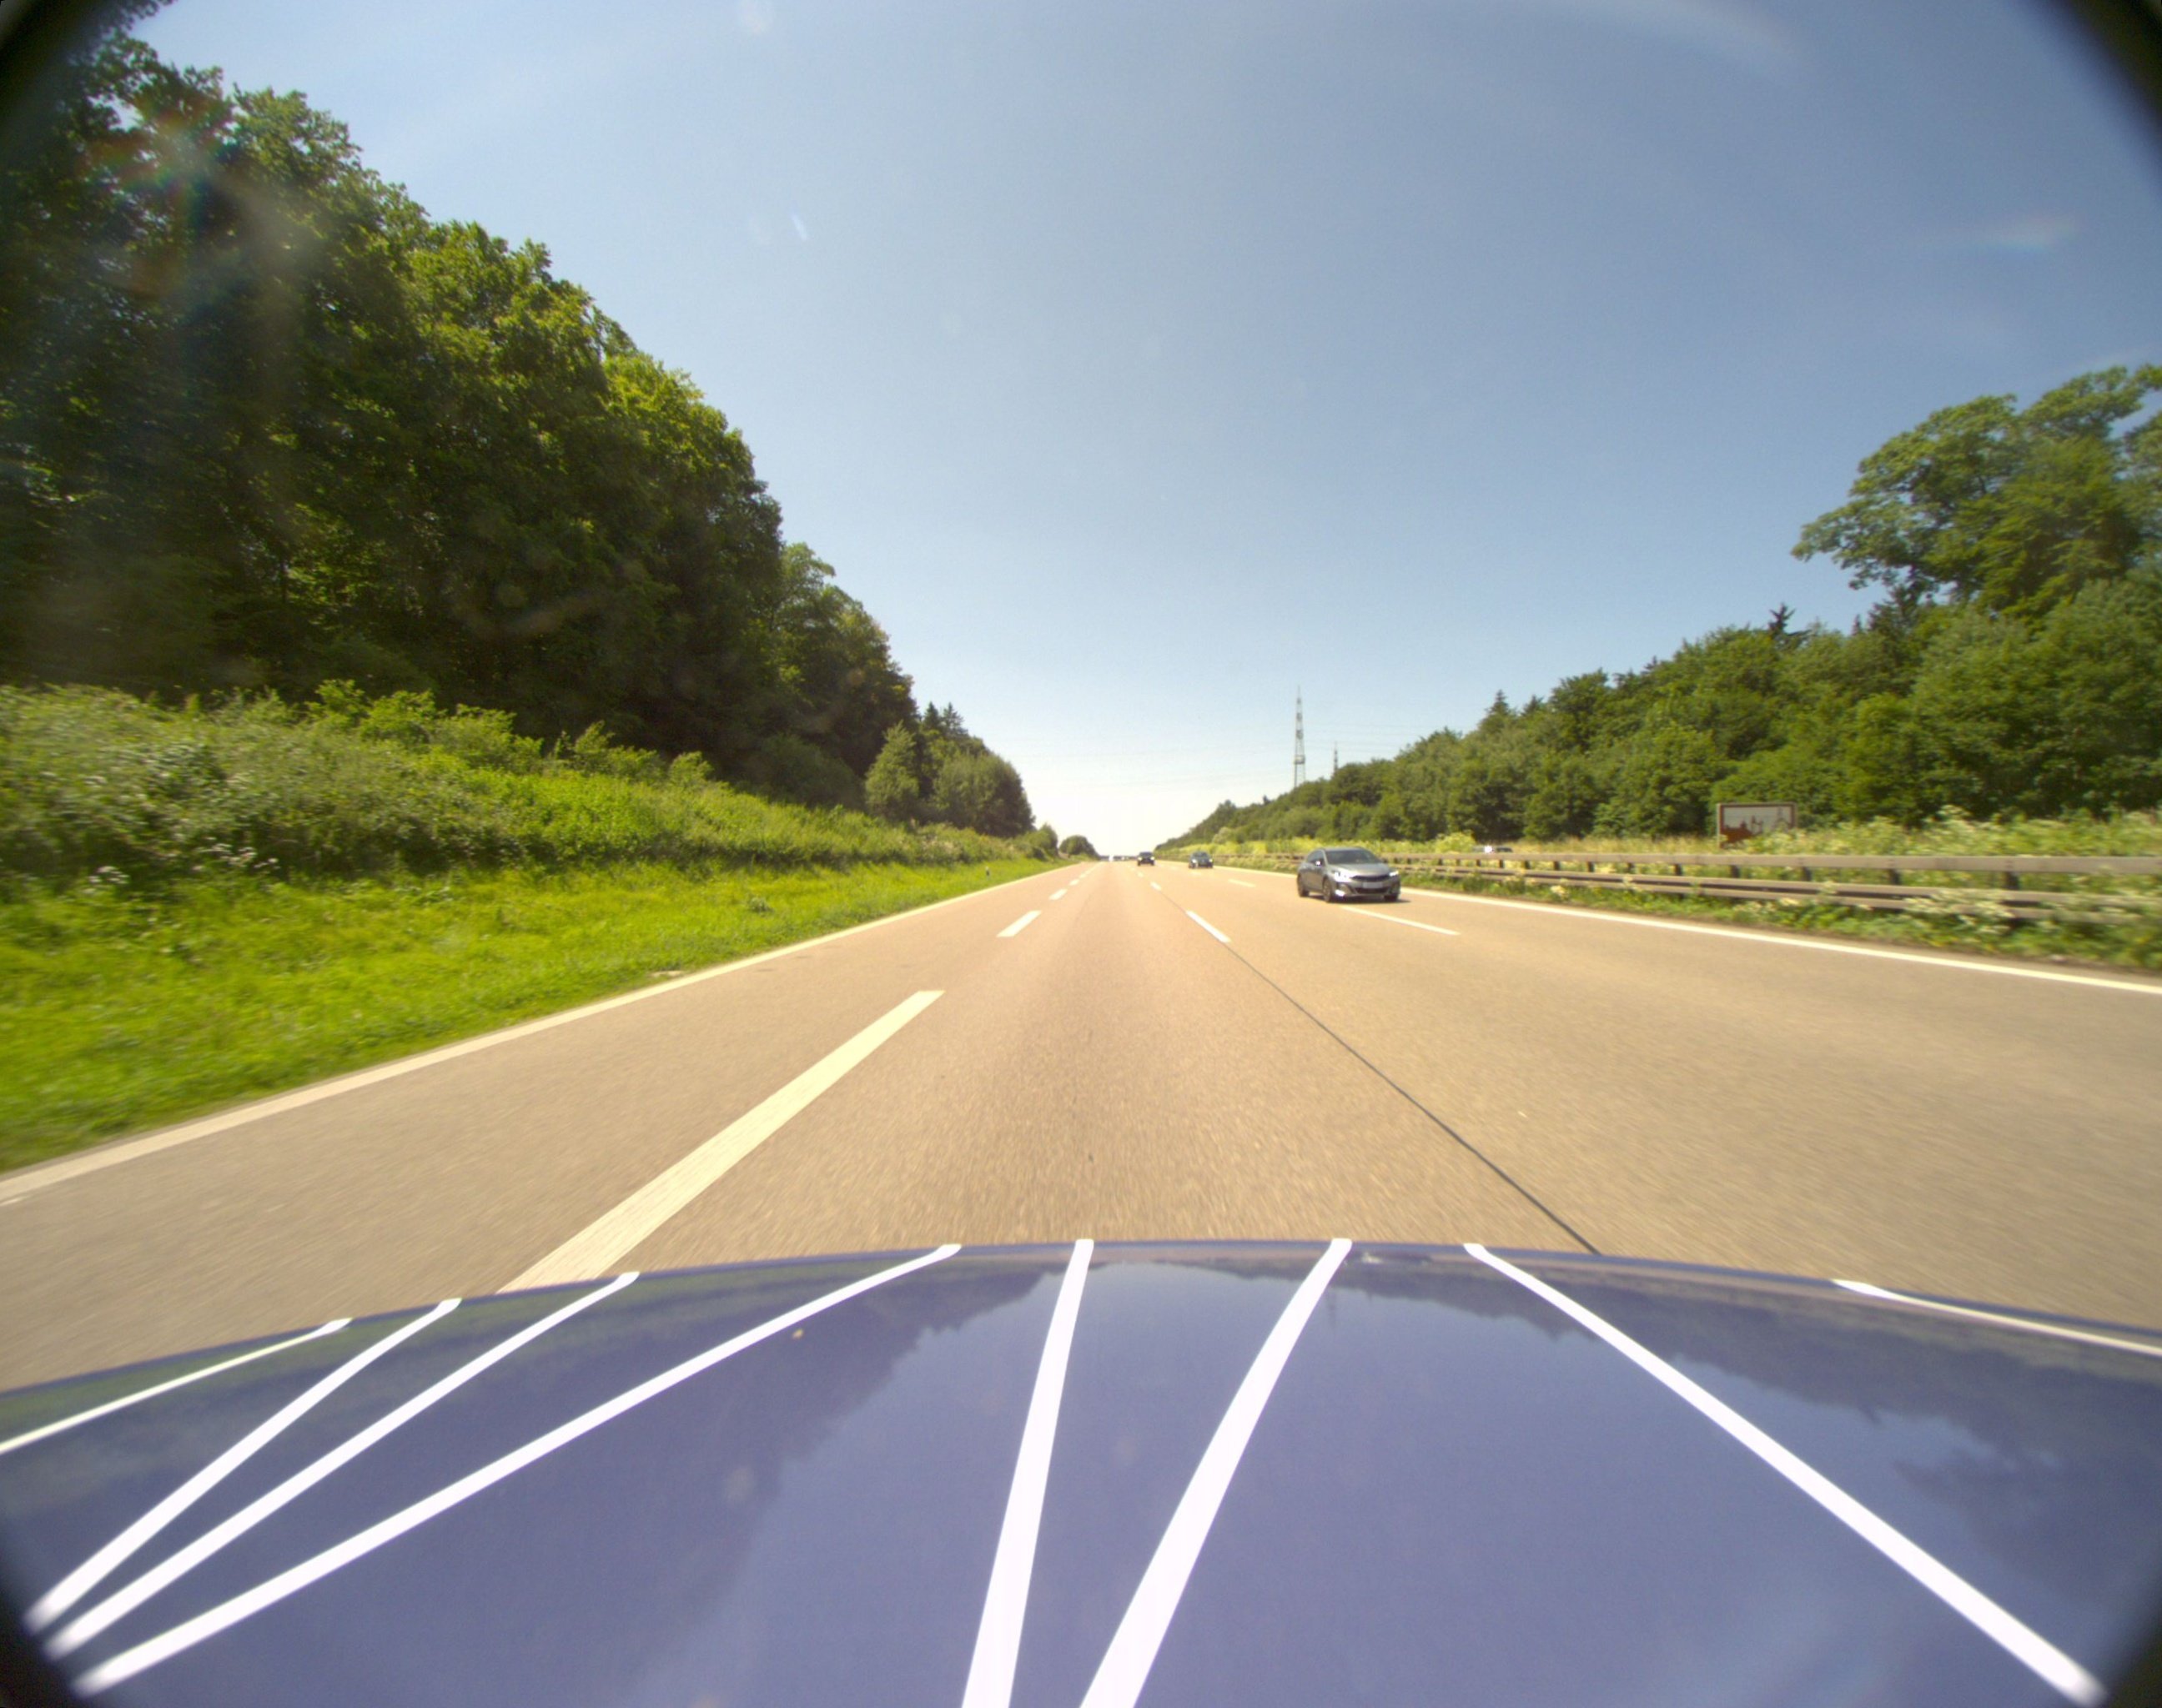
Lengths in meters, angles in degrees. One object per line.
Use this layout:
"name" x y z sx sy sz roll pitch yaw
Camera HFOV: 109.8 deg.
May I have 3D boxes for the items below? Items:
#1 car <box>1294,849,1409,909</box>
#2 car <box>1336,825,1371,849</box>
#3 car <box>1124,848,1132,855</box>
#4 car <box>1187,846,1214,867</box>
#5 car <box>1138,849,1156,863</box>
"car" 7.252 0.604 20.808 1.768 1.401 3.999 -2 1 1
"car" 23.595 -1.440 65.813 1.703 2.002 3.617 -2 1 1
"car" 14.073 -0.834 226.528 1.998 2.002 3.999 -2 1 1
"car" 10.077 0.165 64.296 1.741 1.610 3.943 -2 1 1
"car" 7.569 0.192 87.641 1.787 1.551 3.943 -2 1 1
